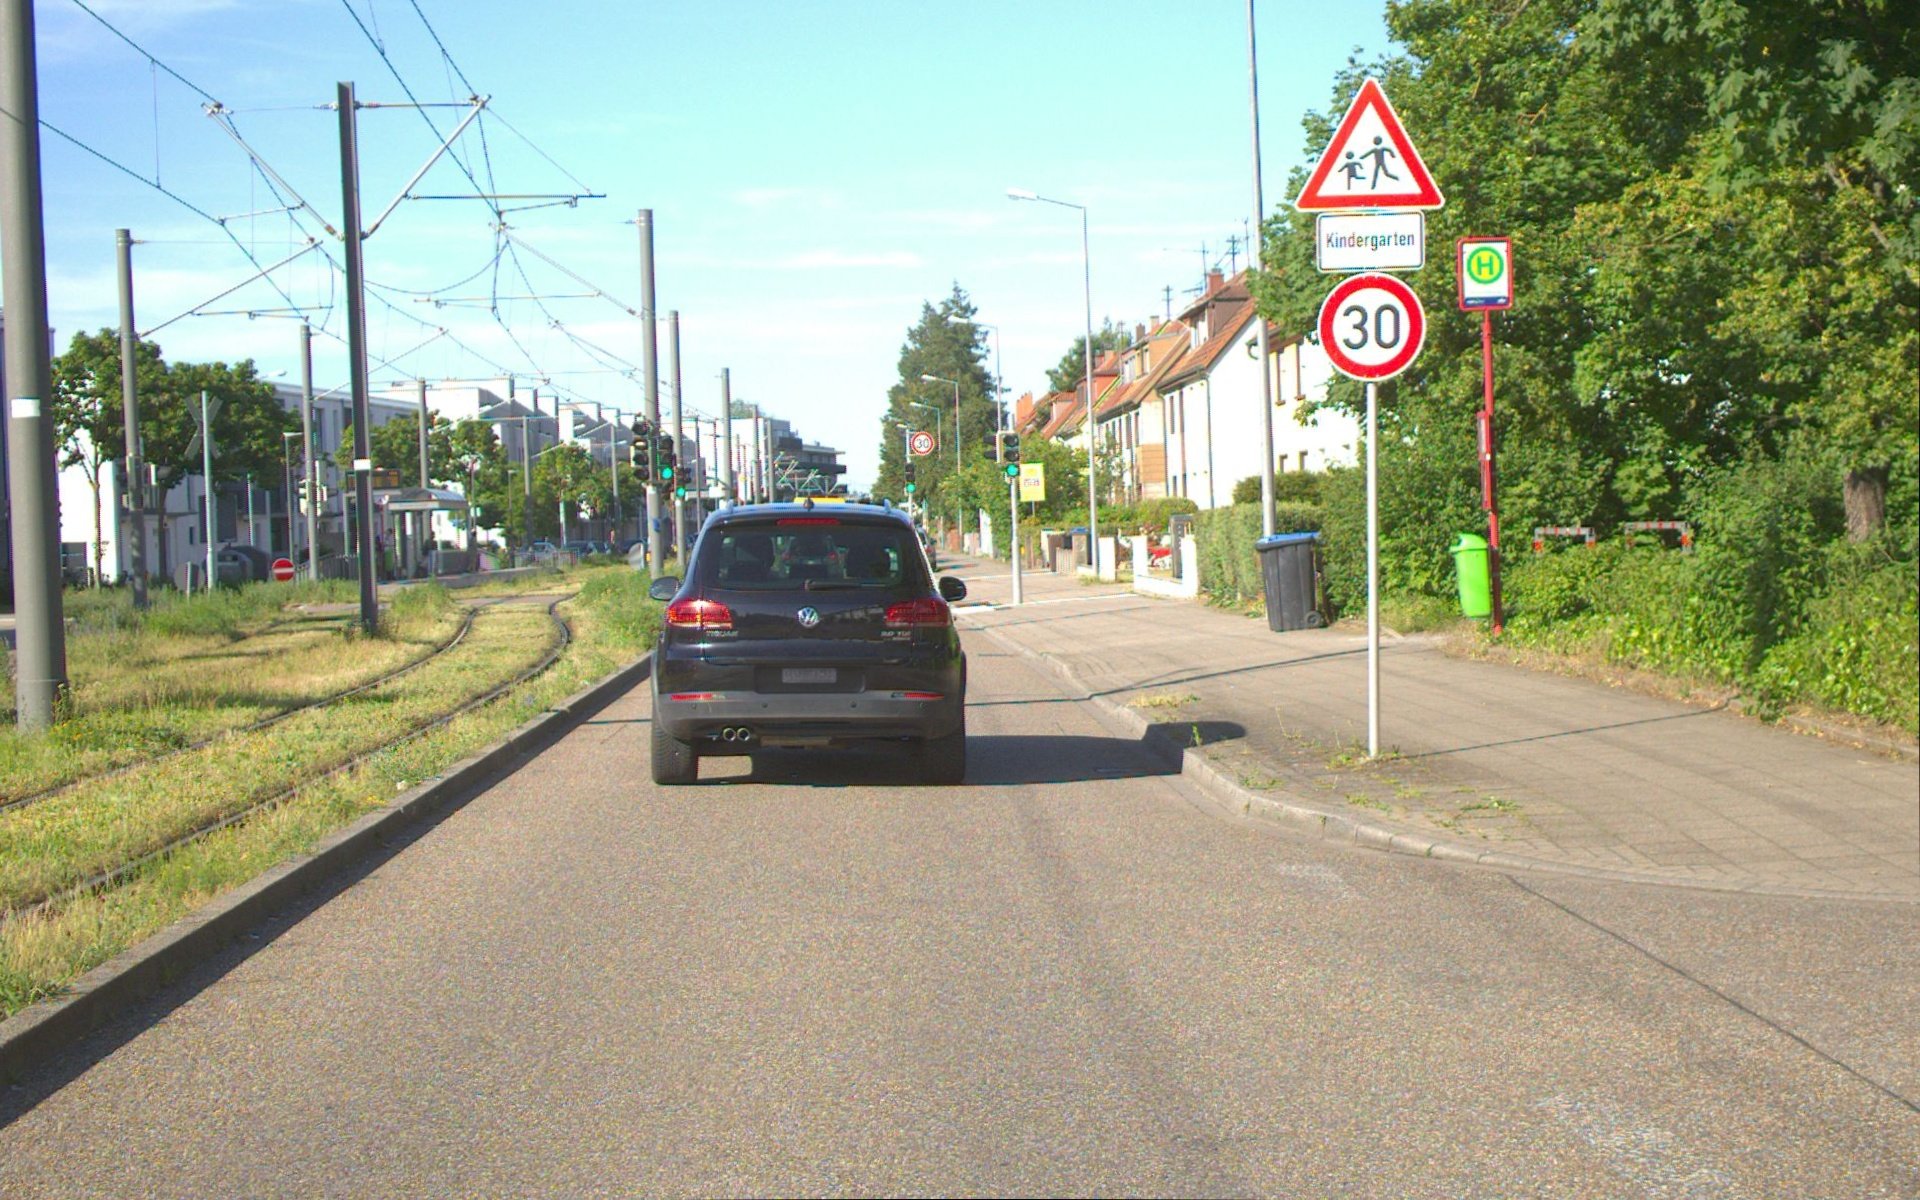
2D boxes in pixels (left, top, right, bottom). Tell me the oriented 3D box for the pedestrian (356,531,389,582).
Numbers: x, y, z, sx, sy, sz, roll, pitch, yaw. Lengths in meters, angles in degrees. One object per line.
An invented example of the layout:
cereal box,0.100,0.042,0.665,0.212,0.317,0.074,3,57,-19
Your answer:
pedestrian,-18.392,-1.359,107.654,0.881,1.581,0.628,-2,1,-19

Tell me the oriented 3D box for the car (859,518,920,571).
car,-2.333,-1.833,112.703,1.775,1.664,4.001,-2,1,-3

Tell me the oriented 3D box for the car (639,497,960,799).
car,-1.013,0.225,21.224,1.775,1.664,4.001,-1,1,-3

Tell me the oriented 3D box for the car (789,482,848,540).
car,-6.512,-4.092,158.256,2.394,2.555,5.530,-2,1,0

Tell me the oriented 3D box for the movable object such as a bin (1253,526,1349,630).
movable object such as a bin,3.839,-0.262,38.787,0.976,1.107,1.170,-2,2,2
